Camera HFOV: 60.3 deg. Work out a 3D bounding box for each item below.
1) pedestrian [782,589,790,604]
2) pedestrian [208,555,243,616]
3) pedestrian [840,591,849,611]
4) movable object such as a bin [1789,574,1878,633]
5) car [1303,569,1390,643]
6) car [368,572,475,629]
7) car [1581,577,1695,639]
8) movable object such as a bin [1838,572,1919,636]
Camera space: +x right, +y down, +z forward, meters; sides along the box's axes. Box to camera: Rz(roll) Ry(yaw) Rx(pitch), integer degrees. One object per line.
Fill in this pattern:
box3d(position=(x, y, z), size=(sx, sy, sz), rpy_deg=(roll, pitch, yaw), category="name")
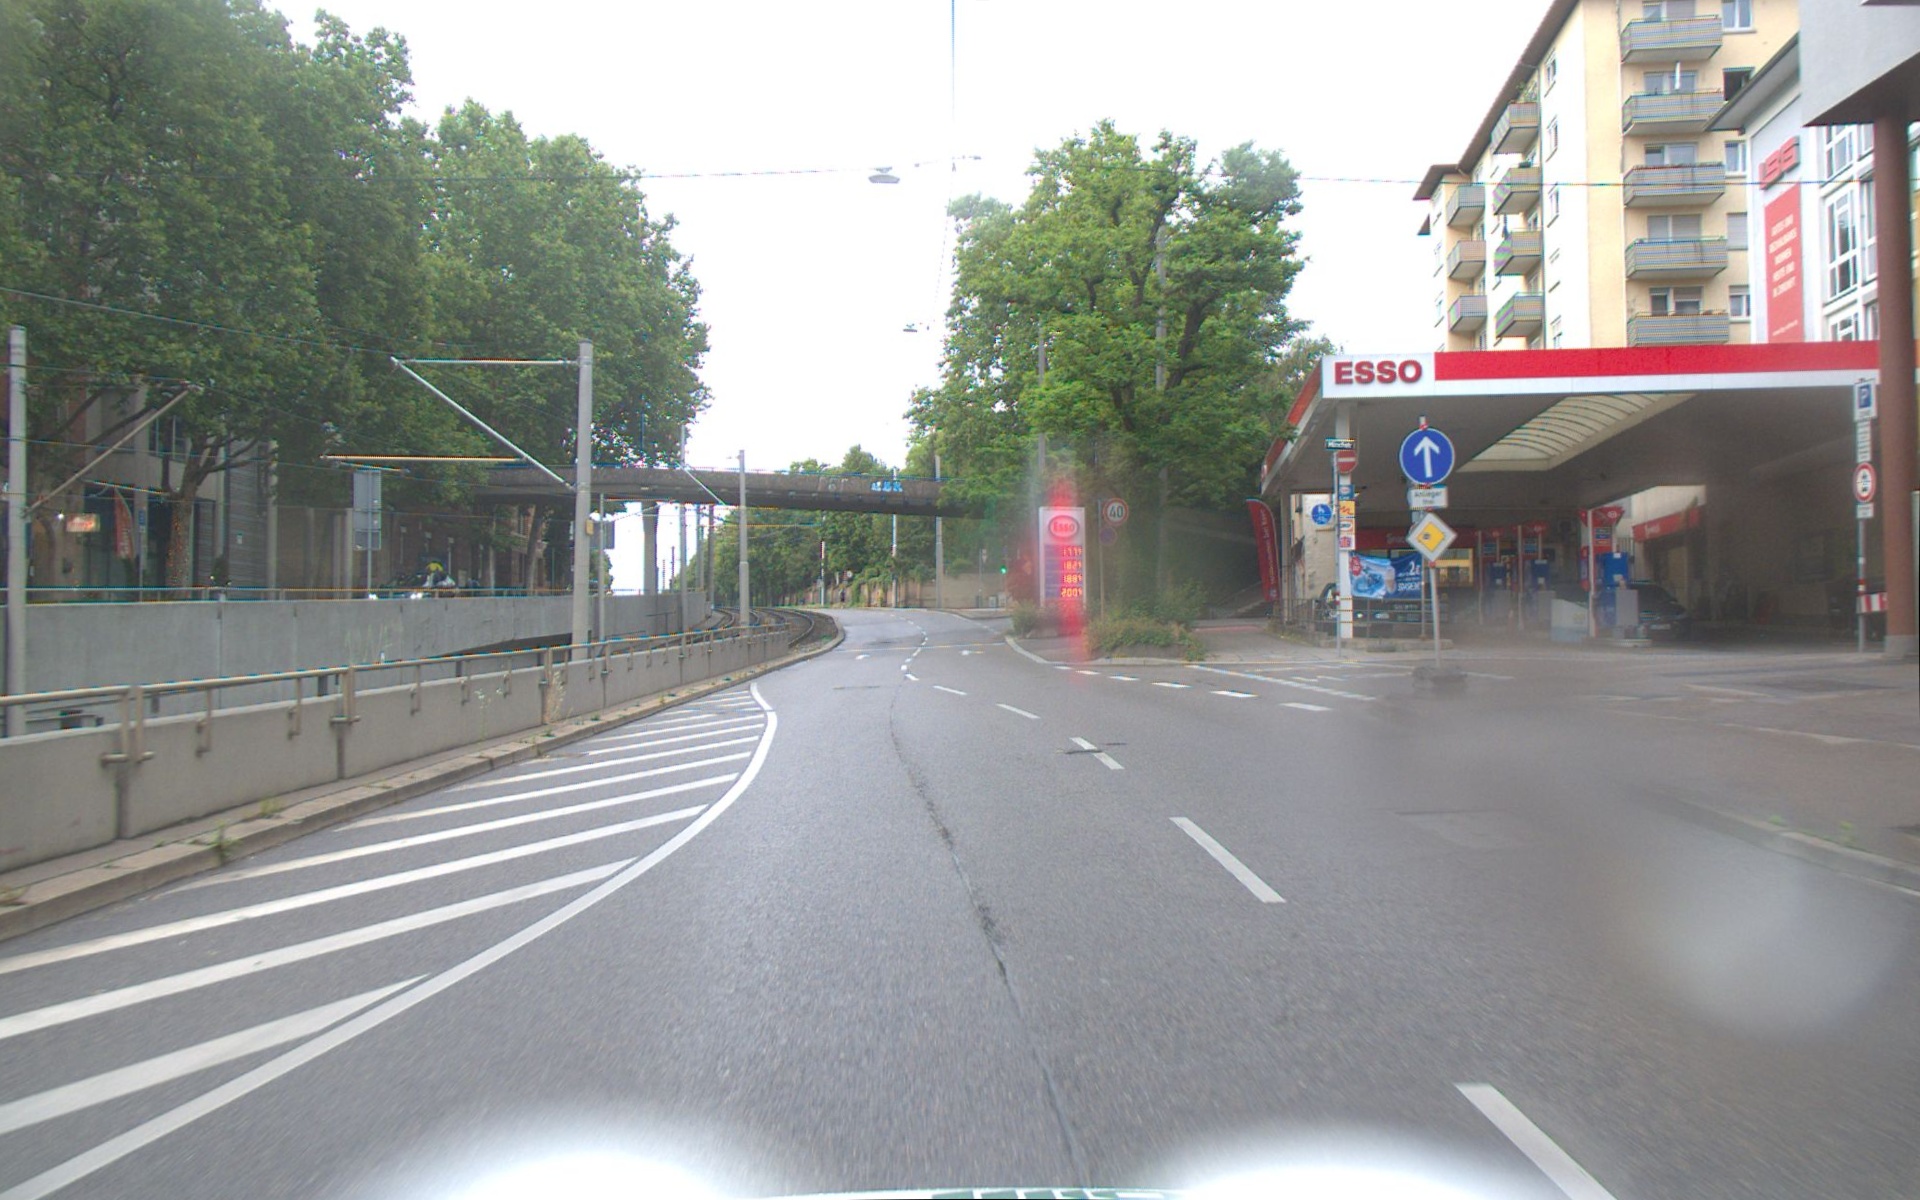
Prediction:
box3d(position=(-19.508, -0.388, 185.483), size=(0.707, 1.717, 0.727), rpy_deg=(1, -1, -13), category="pedestrian")
box3d(position=(-24.993, -0.490, 56.291), size=(0.655, 2.049, 0.935), rpy_deg=(1, -1, 3), category="pedestrian")
box3d(position=(-10.691, 0.094, 152.578), size=(0.707, 1.882, 0.780), rpy_deg=(1, -1, -13), category="pedestrian")
box3d(position=(22.330, 0.092, 42.352), size=(1.138, 1.450, 2.510), rpy_deg=(-1, 0, 6), category="movable object such as a bin")
box3d(position=(9.431, 0.154, 40.608), size=(1.734, 1.652, 3.869), rpy_deg=(-2, -1, 9), category="car")
box3d(position=(-18.809, 0.015, 58.034), size=(1.915, 1.885, 4.969), rpy_deg=(1, 0, 2), category="car")
box3d(position=(17.871, 0.246, 43.795), size=(1.756, 1.537, 4.002), rpy_deg=(1, -1, 7), category="car")
box3d(position=(22.024, 0.089, 39.362), size=(1.138, 1.450, 2.510), rpy_deg=(-1, 0, 6), category="movable object such as a bin")
